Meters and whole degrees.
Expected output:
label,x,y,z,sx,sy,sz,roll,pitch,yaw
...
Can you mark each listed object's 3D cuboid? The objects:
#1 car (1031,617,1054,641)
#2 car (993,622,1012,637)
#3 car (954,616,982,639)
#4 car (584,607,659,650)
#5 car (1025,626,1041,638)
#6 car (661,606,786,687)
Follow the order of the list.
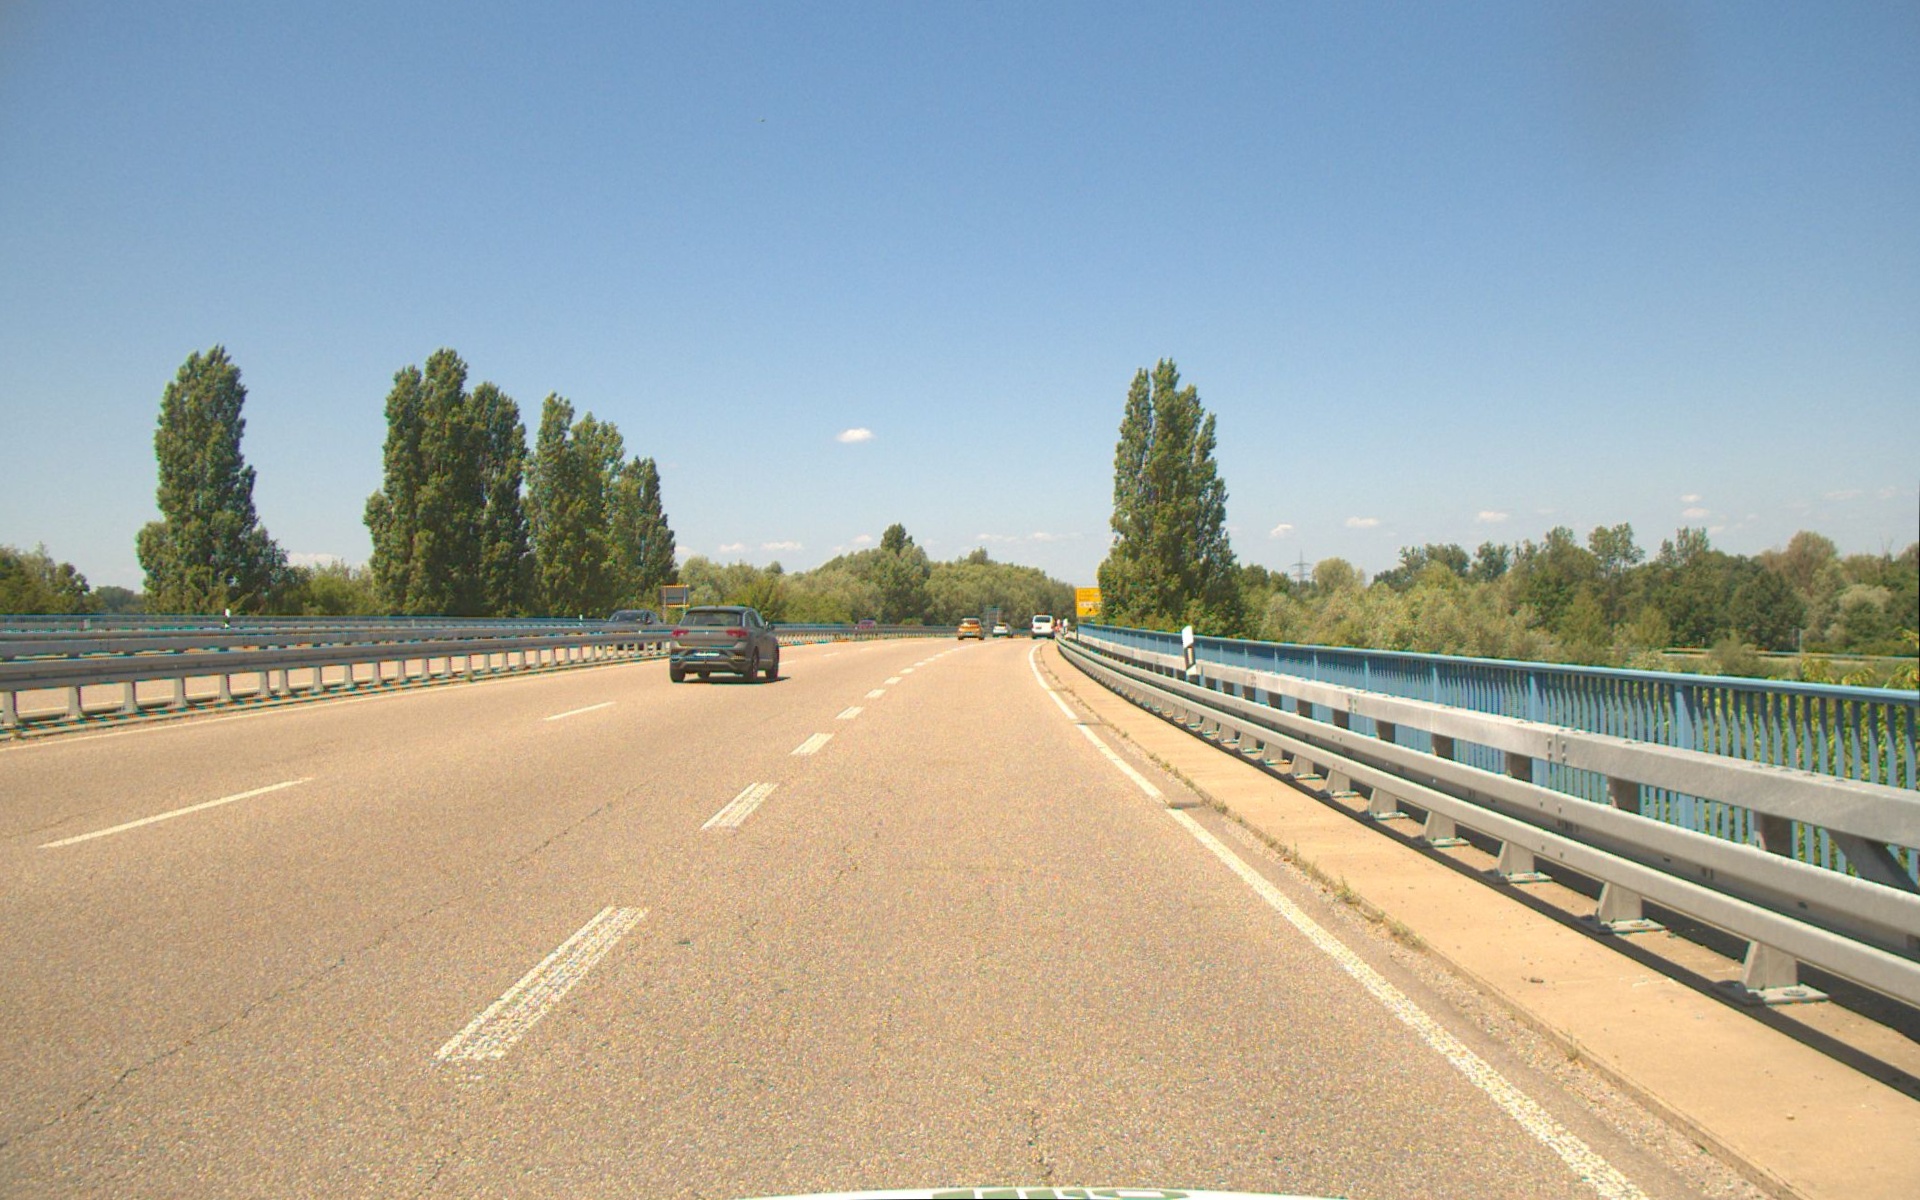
label,x,y,z,sx,sy,sz,roll,pitch,yaw
car,6.939,2.446,139.422,1.802,1.928,4.002,1,0,4
car,4.467,3.138,174.054,1.803,1.476,4.001,1,0,3
car,0.578,1.875,114.181,1.803,1.489,4.000,1,0,1
car,-12.980,1.068,63.712,1.865,1.531,4.684,1,0,0
car,9.517,4.168,214.598,1.903,1.489,4.002,1,0,5
car,-4.947,0.939,35.209,1.803,1.556,4.471,1,0,2
